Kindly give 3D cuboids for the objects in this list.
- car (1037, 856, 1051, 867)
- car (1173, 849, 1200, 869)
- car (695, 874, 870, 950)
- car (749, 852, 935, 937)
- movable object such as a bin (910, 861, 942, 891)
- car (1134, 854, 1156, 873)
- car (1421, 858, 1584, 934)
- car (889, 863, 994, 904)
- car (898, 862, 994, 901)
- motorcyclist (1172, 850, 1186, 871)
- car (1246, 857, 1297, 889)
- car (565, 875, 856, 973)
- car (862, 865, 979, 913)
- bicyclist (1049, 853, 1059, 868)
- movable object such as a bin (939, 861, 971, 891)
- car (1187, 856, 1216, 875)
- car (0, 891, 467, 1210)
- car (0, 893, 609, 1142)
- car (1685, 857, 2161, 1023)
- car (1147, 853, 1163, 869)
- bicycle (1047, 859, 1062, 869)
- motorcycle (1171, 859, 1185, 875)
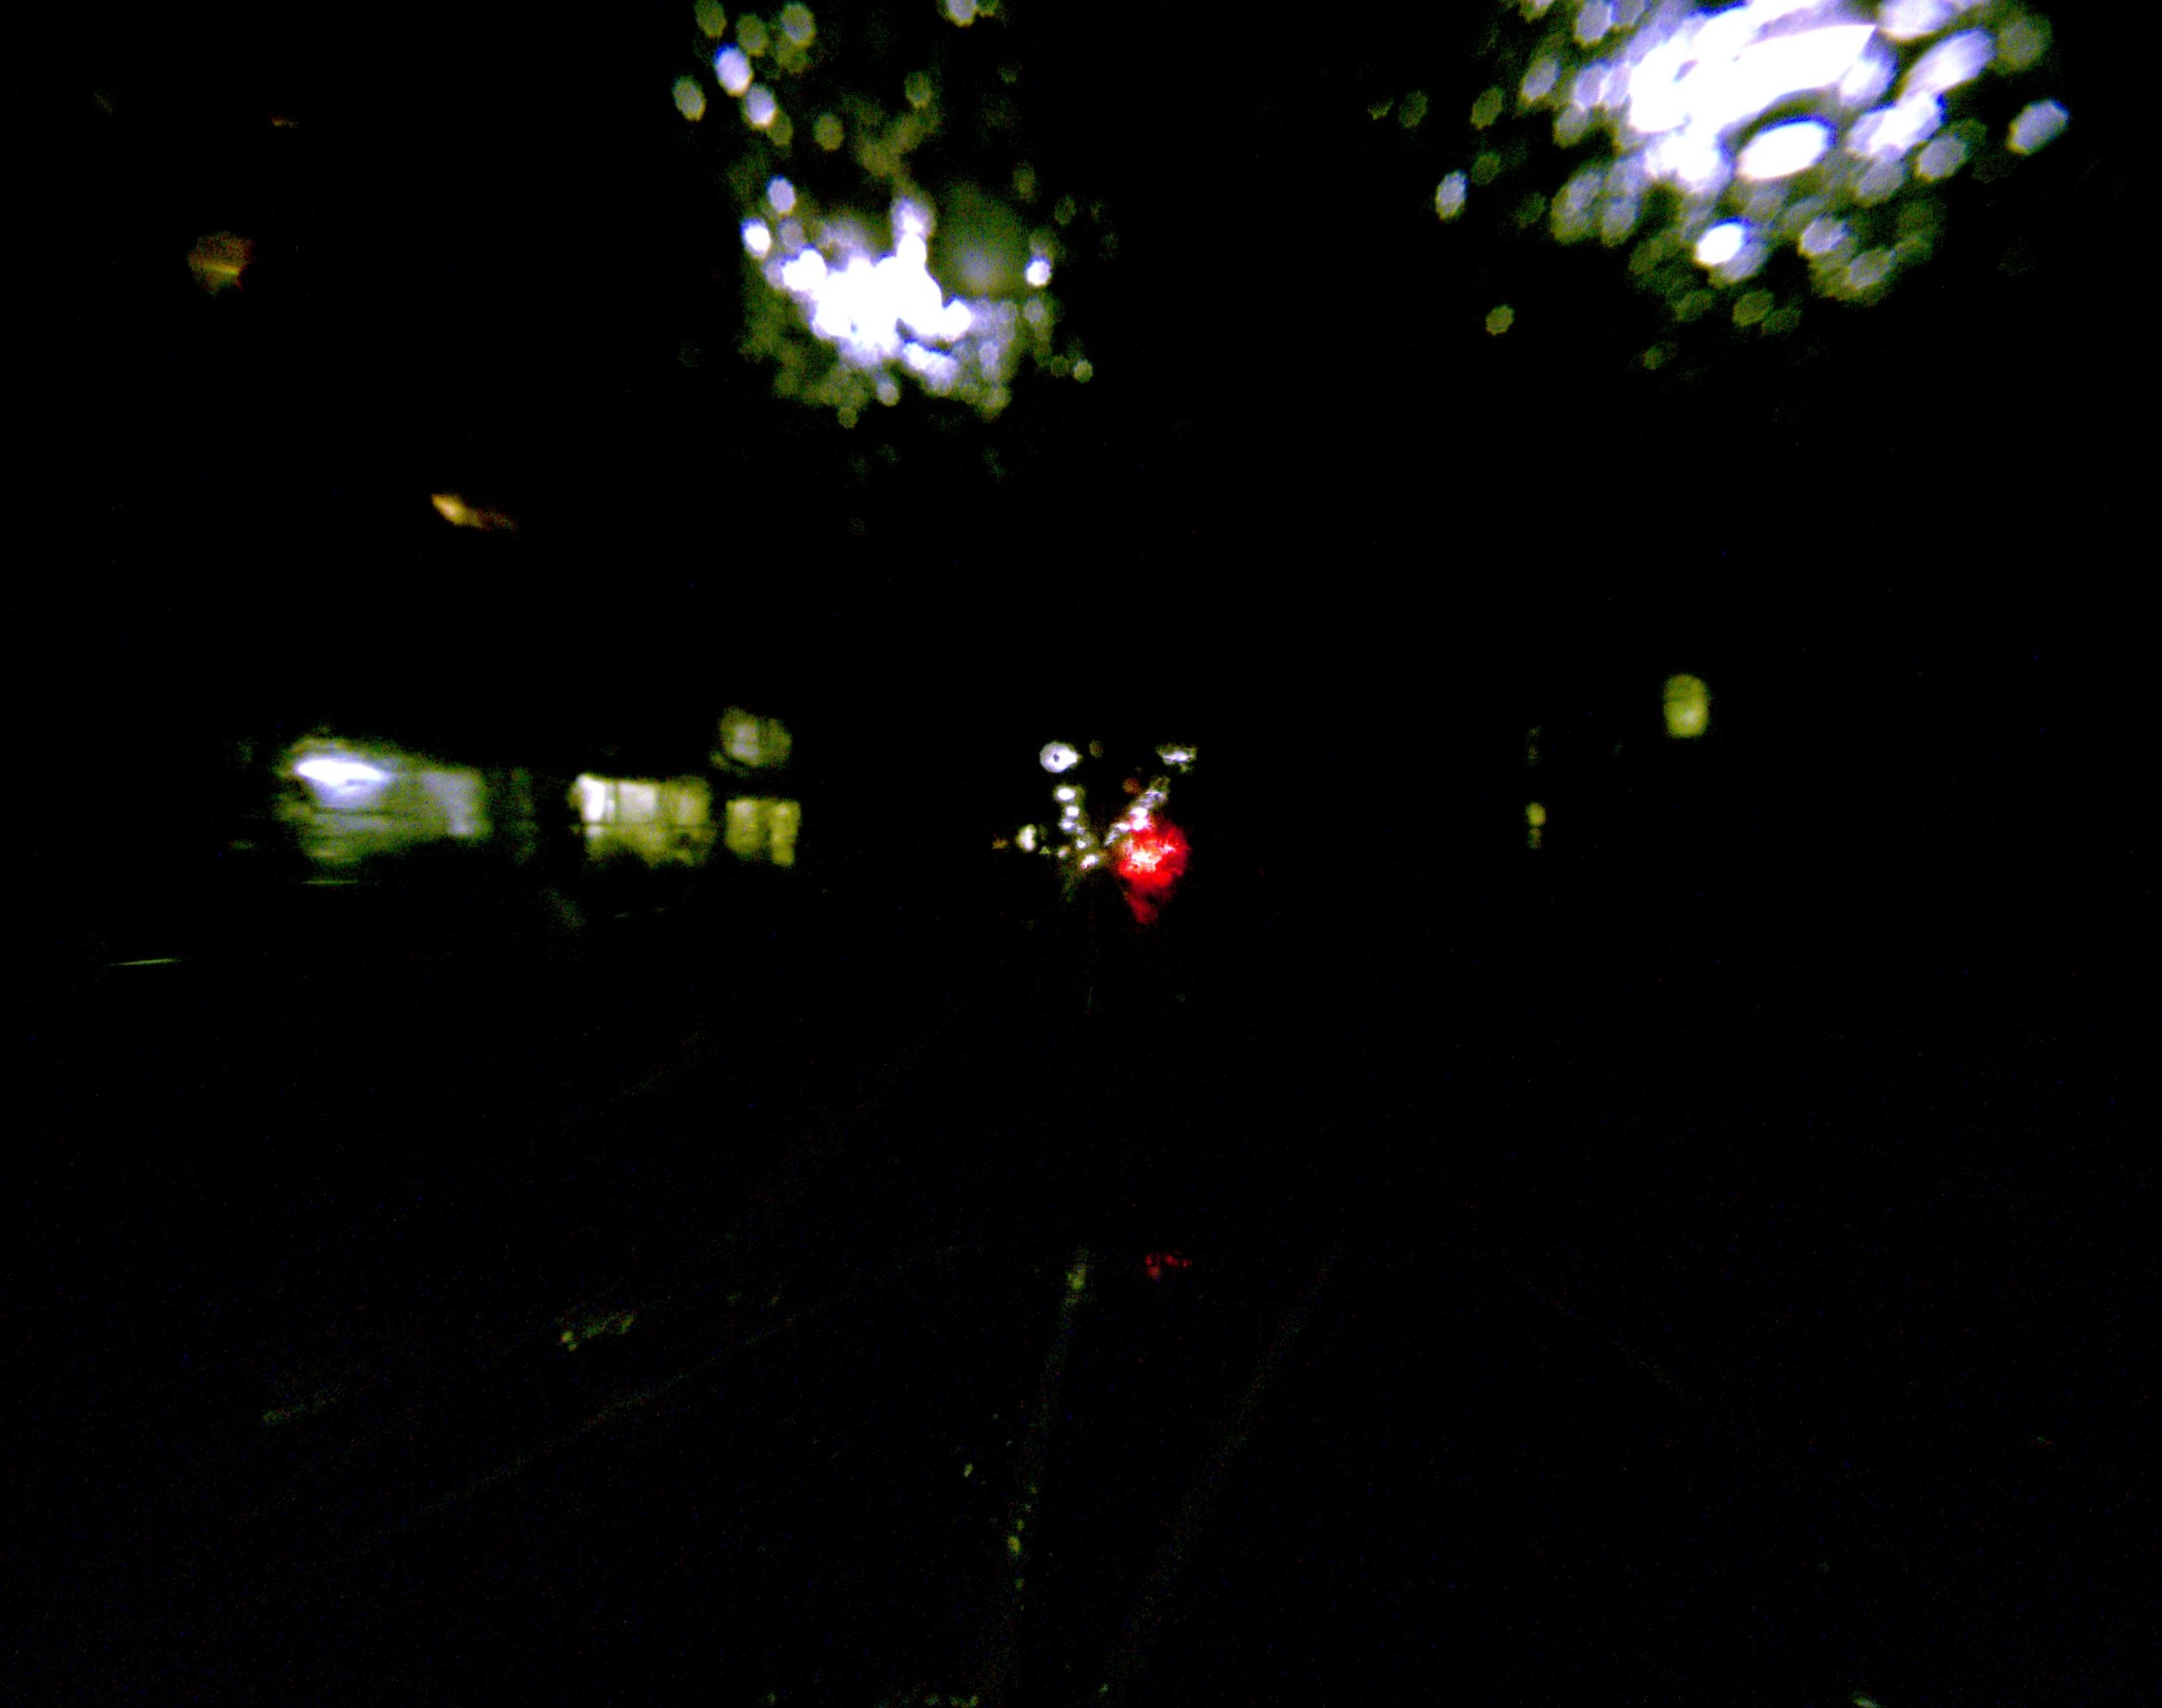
[{"bbox_3d":[-4.970,1.023,103.043,1.649,1.433,4.055,2,0,0],"label":"car"},{"bbox_3d":[10.801,0.546,78.199,1.998,1.815,5.309,-4,-1,0],"label":"car"},{"bbox_3d":[-6.673,1.219,17.067,3.343,1.377,1.627,-3,1,-34],"label":"car"},{"bbox_3d":[-6.294,1.011,20.224,4.181,1.828,1.958,-4,0,-40],"label":"car"},{"bbox_3d":[-7.563,1.080,37.017,1.413,1.399,1.025,-1,1,-19],"label":"movable object such as a bin"},{"bbox_3d":[6.417,0.943,76.638,1.943,1.805,4.385,0,0,2],"label":"car"},{"bbox_3d":[9.624,0.882,17.704,1.614,1.420,3.807,-3,1,-1],"label":"car"},{"bbox_3d":[-5.658,1.159,31.136,1.802,1.480,3.863,-1,1,43],"label":"car"},{"bbox_3d":[-5.989,1.188,33.907,3.797,1.450,1.765,-4,1,-41],"label":"car"},{"bbox_3d":[8.538,0.559,66.280,0.919,1.730,1.137,4,2,15],"label":"motorcyclist"},{"bbox_3d":[9.690,0.916,38.910,1.672,1.378,4.000,-4,1,2],"label":"car"},{"bbox_3d":[-6.589,1.155,13.927,1.687,1.396,4.467,-2,-1,43],"label":"car"},{"bbox_3d":[-5.832,1.234,27.879,3.842,1.430,1.596,-4,1,-43],"label":"car"},{"bbox_3d":[-2.904,0.676,81.701,0.571,1.539,0.817,-2,2,36],"label":"bicyclist"},{"bbox_3d":[-6.215,1.054,37.461,1.353,1.399,1.025,-2,1,-19],"label":"movable object such as a bin"},{"bbox_3d":[10.562,0.988,66.665,1.770,1.398,4.140,-4,0,-1],"label":"car"},{"bbox_3d":[-6.297,1.125,4.608,3.896,1.525,1.817,-3,0,-40],"label":"car"},{"bbox_3d":[-6.924,1.237,7.128,3.863,1.425,1.816,-4,1,-44],"label":"car"},{"bbox_3d":[9.541,0.868,9.078,1.645,1.498,3.619,-3,-1,-1],"label":"car"},{"bbox_3d":[8.913,0.883,91.389,1.930,1.868,4.640,0,0,6],"label":"car"},{"bbox_3d":[-2.887,1.059,81.709,0.571,0.964,1.783,-2,1,37],"label":"bicycle"},{"bbox_3d":[8.471,1.130,66.183,0.818,1.223,2.003,4,2,15],"label":"motorcycle"}]
